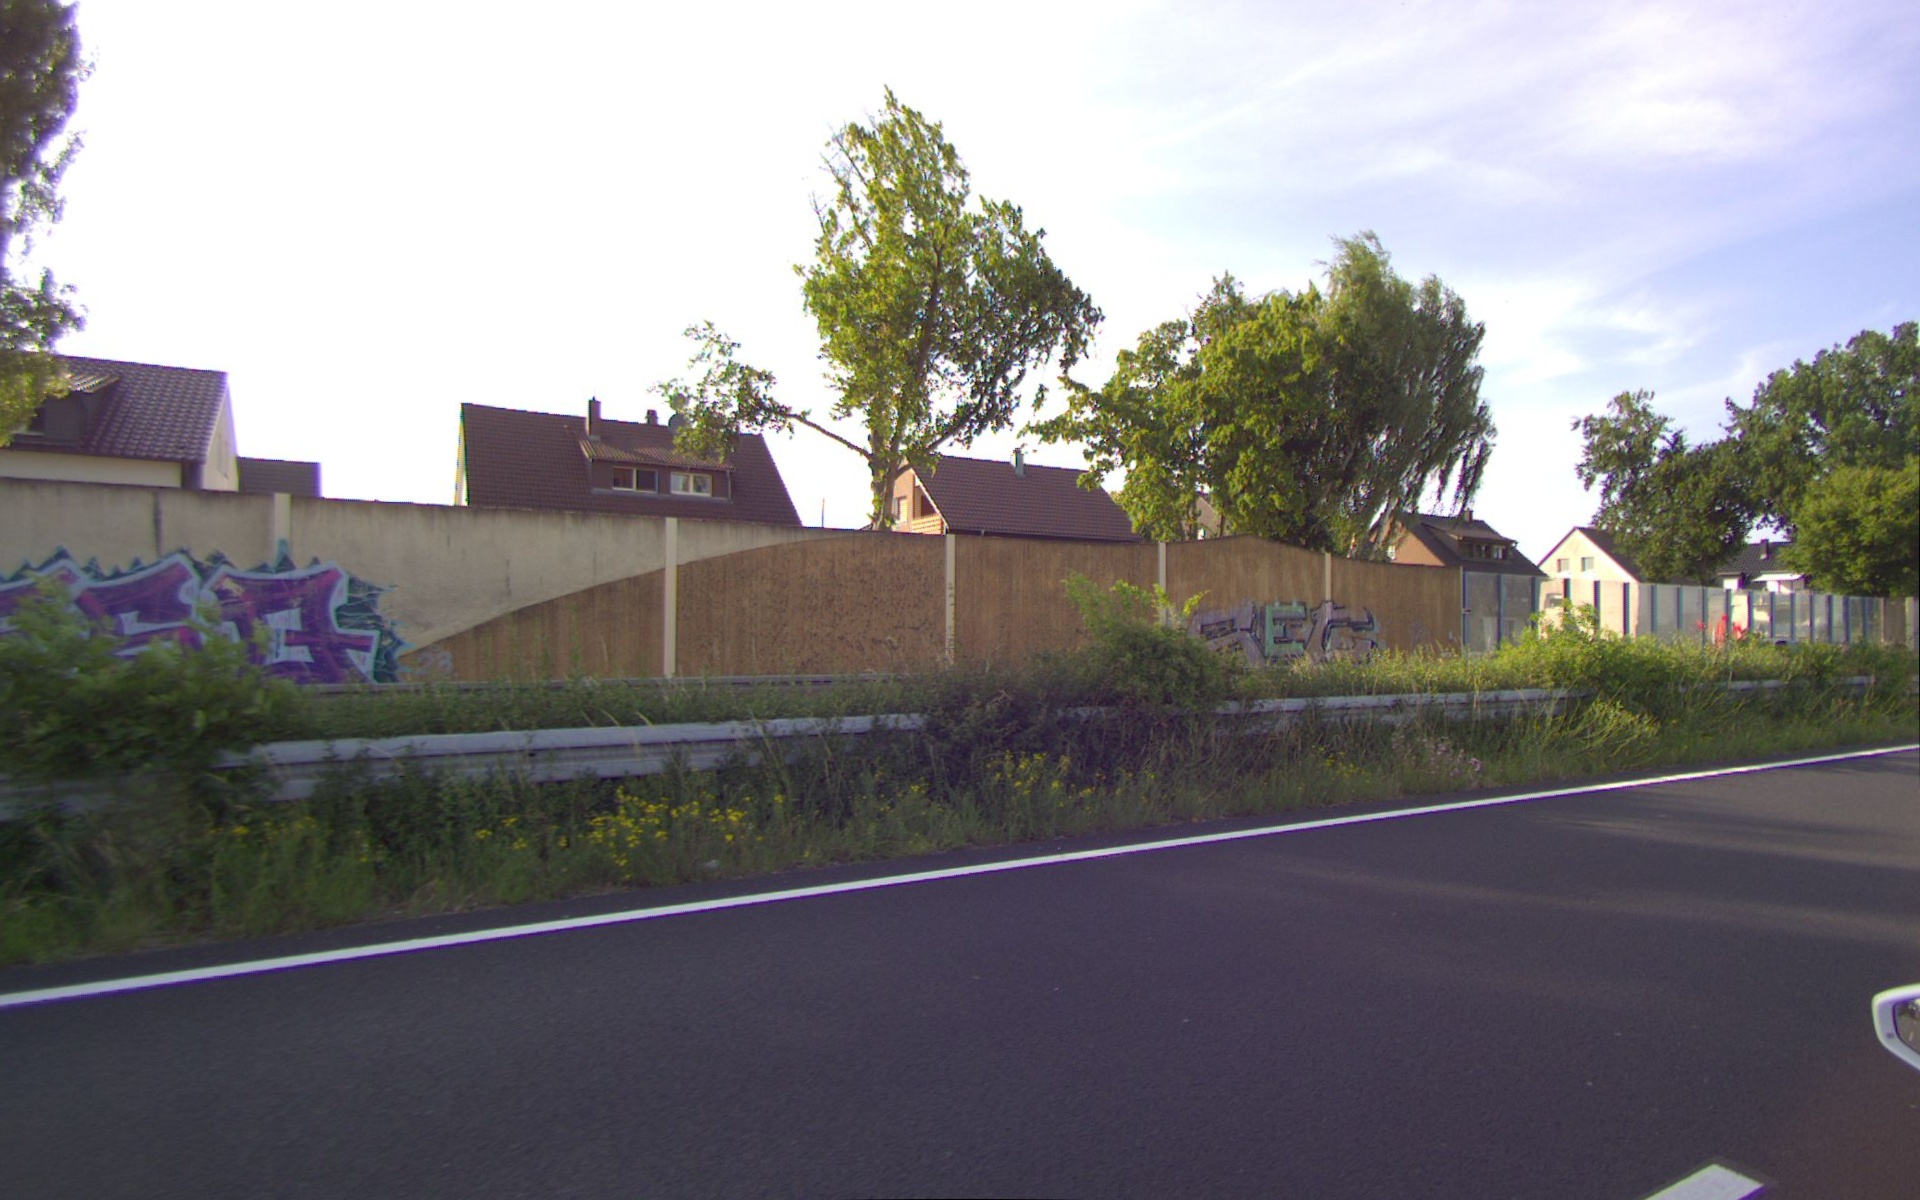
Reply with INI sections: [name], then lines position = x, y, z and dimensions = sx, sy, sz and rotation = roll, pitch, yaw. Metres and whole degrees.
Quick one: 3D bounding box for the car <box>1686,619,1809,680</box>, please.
[car]
position = 23.648, 1.475, 30.156
dimensions = 3.296, 1.684, 1.799
rotation = 2, 0, -30
